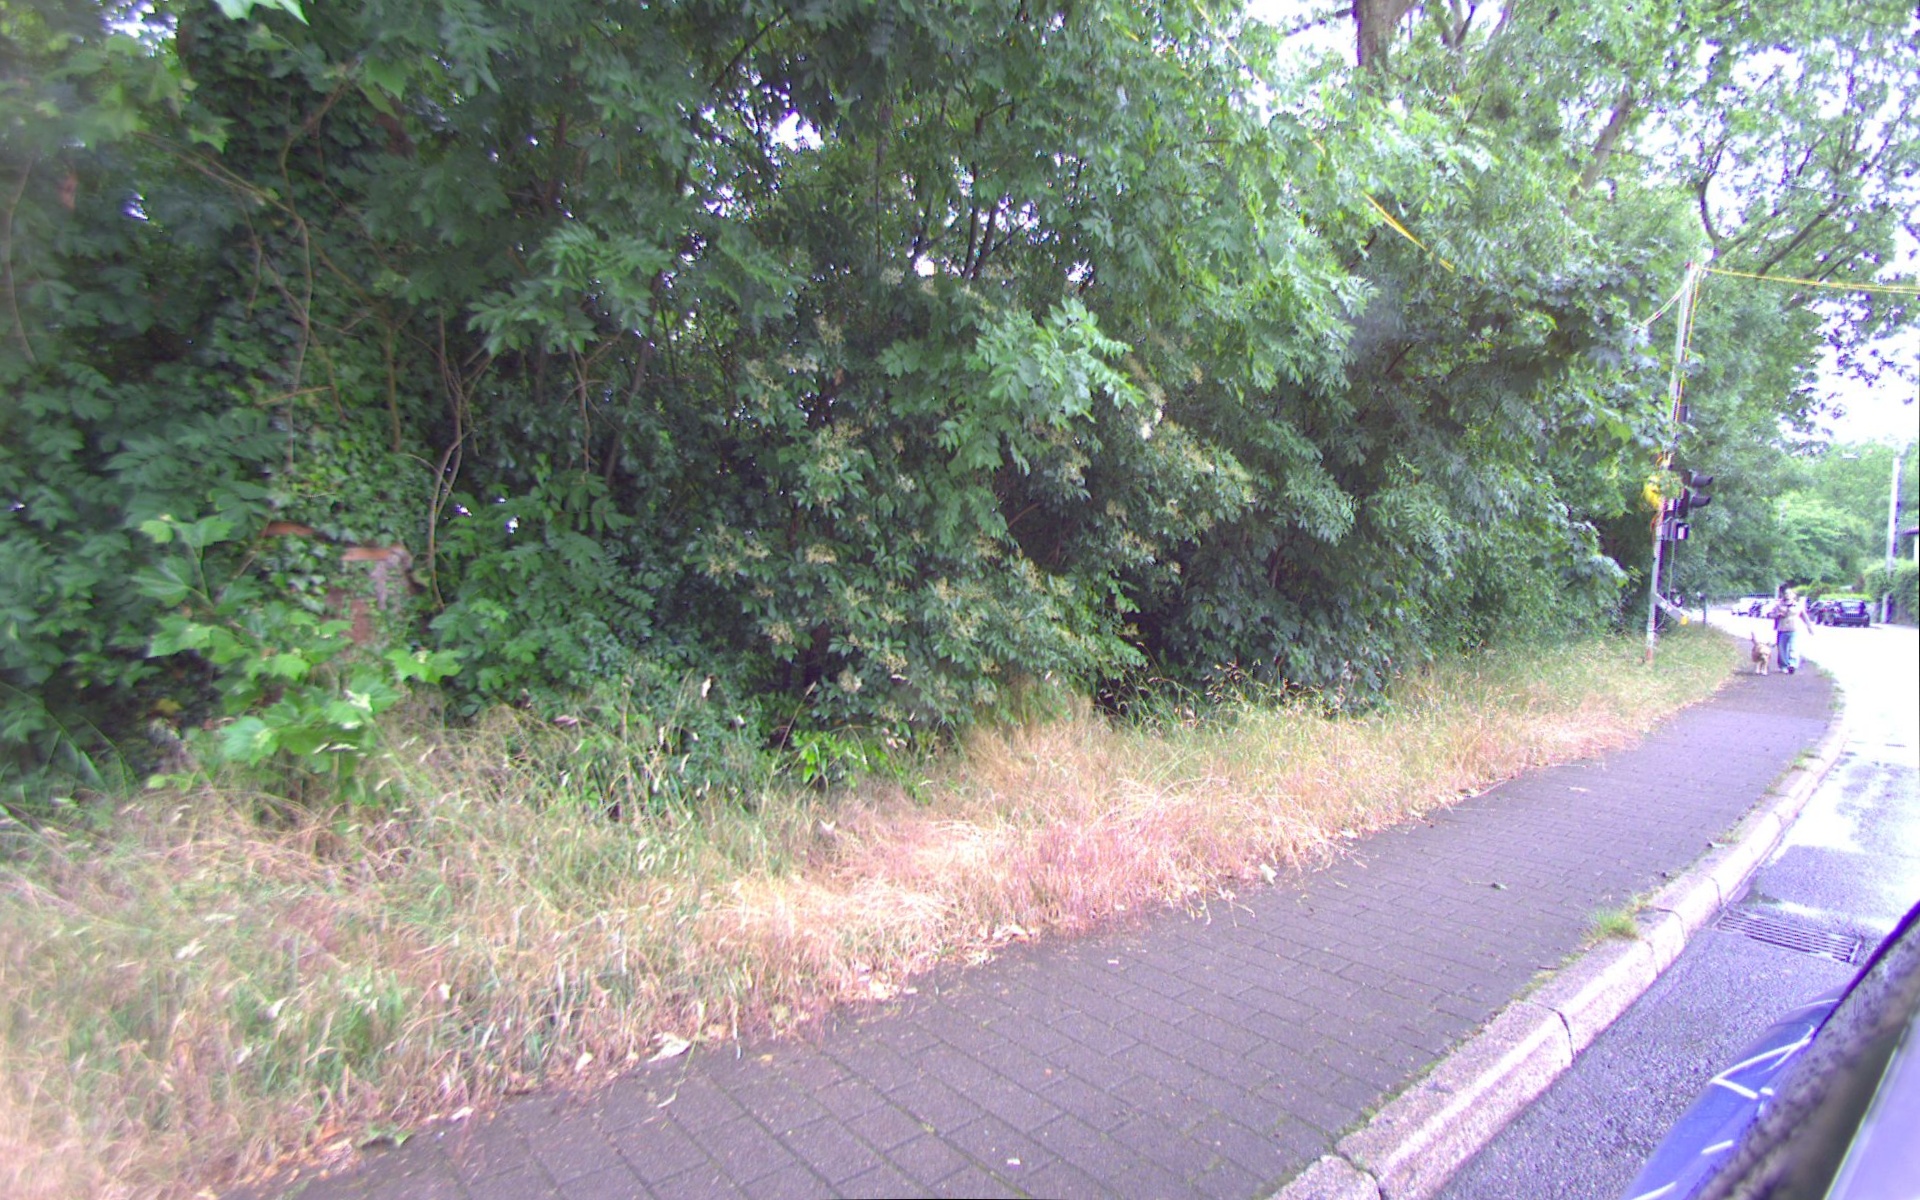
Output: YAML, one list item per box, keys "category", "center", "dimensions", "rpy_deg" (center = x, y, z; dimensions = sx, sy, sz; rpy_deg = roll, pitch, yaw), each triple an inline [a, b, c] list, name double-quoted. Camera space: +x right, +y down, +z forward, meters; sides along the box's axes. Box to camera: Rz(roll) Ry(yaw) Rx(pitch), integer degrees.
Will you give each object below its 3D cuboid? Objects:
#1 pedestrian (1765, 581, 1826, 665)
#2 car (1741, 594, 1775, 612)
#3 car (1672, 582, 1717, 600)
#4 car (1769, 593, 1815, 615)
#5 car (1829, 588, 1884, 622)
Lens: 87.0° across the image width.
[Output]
- category: "pedestrian"
  center: [15.393, 0.415, 18.645]
  dimensions: [0.771, 1.518, 0.734]
  rpy_deg: [0, -1, -42]
- category: "car"
  center: [64.940, 0.208, 82.372]
  dimensions: [1.676, 1.445, 3.734]
  rpy_deg: [1, 1, 31]
- category: "car"
  center: [73.492, -0.885, 101.250]
  dimensions: [4.530, 1.805, 2.002]
  rpy_deg: [0, 0, -31]
- category: "car"
  center: [60.746, 0.287, 73.919]
  dimensions: [2.055, 1.504, 4.509]
  rpy_deg: [1, 1, 33]
- category: "car"
  center: [51.059, 0.274, 57.707]
  dimensions: [1.869, 1.848, 4.075]
  rpy_deg: [1, 1, 35]
